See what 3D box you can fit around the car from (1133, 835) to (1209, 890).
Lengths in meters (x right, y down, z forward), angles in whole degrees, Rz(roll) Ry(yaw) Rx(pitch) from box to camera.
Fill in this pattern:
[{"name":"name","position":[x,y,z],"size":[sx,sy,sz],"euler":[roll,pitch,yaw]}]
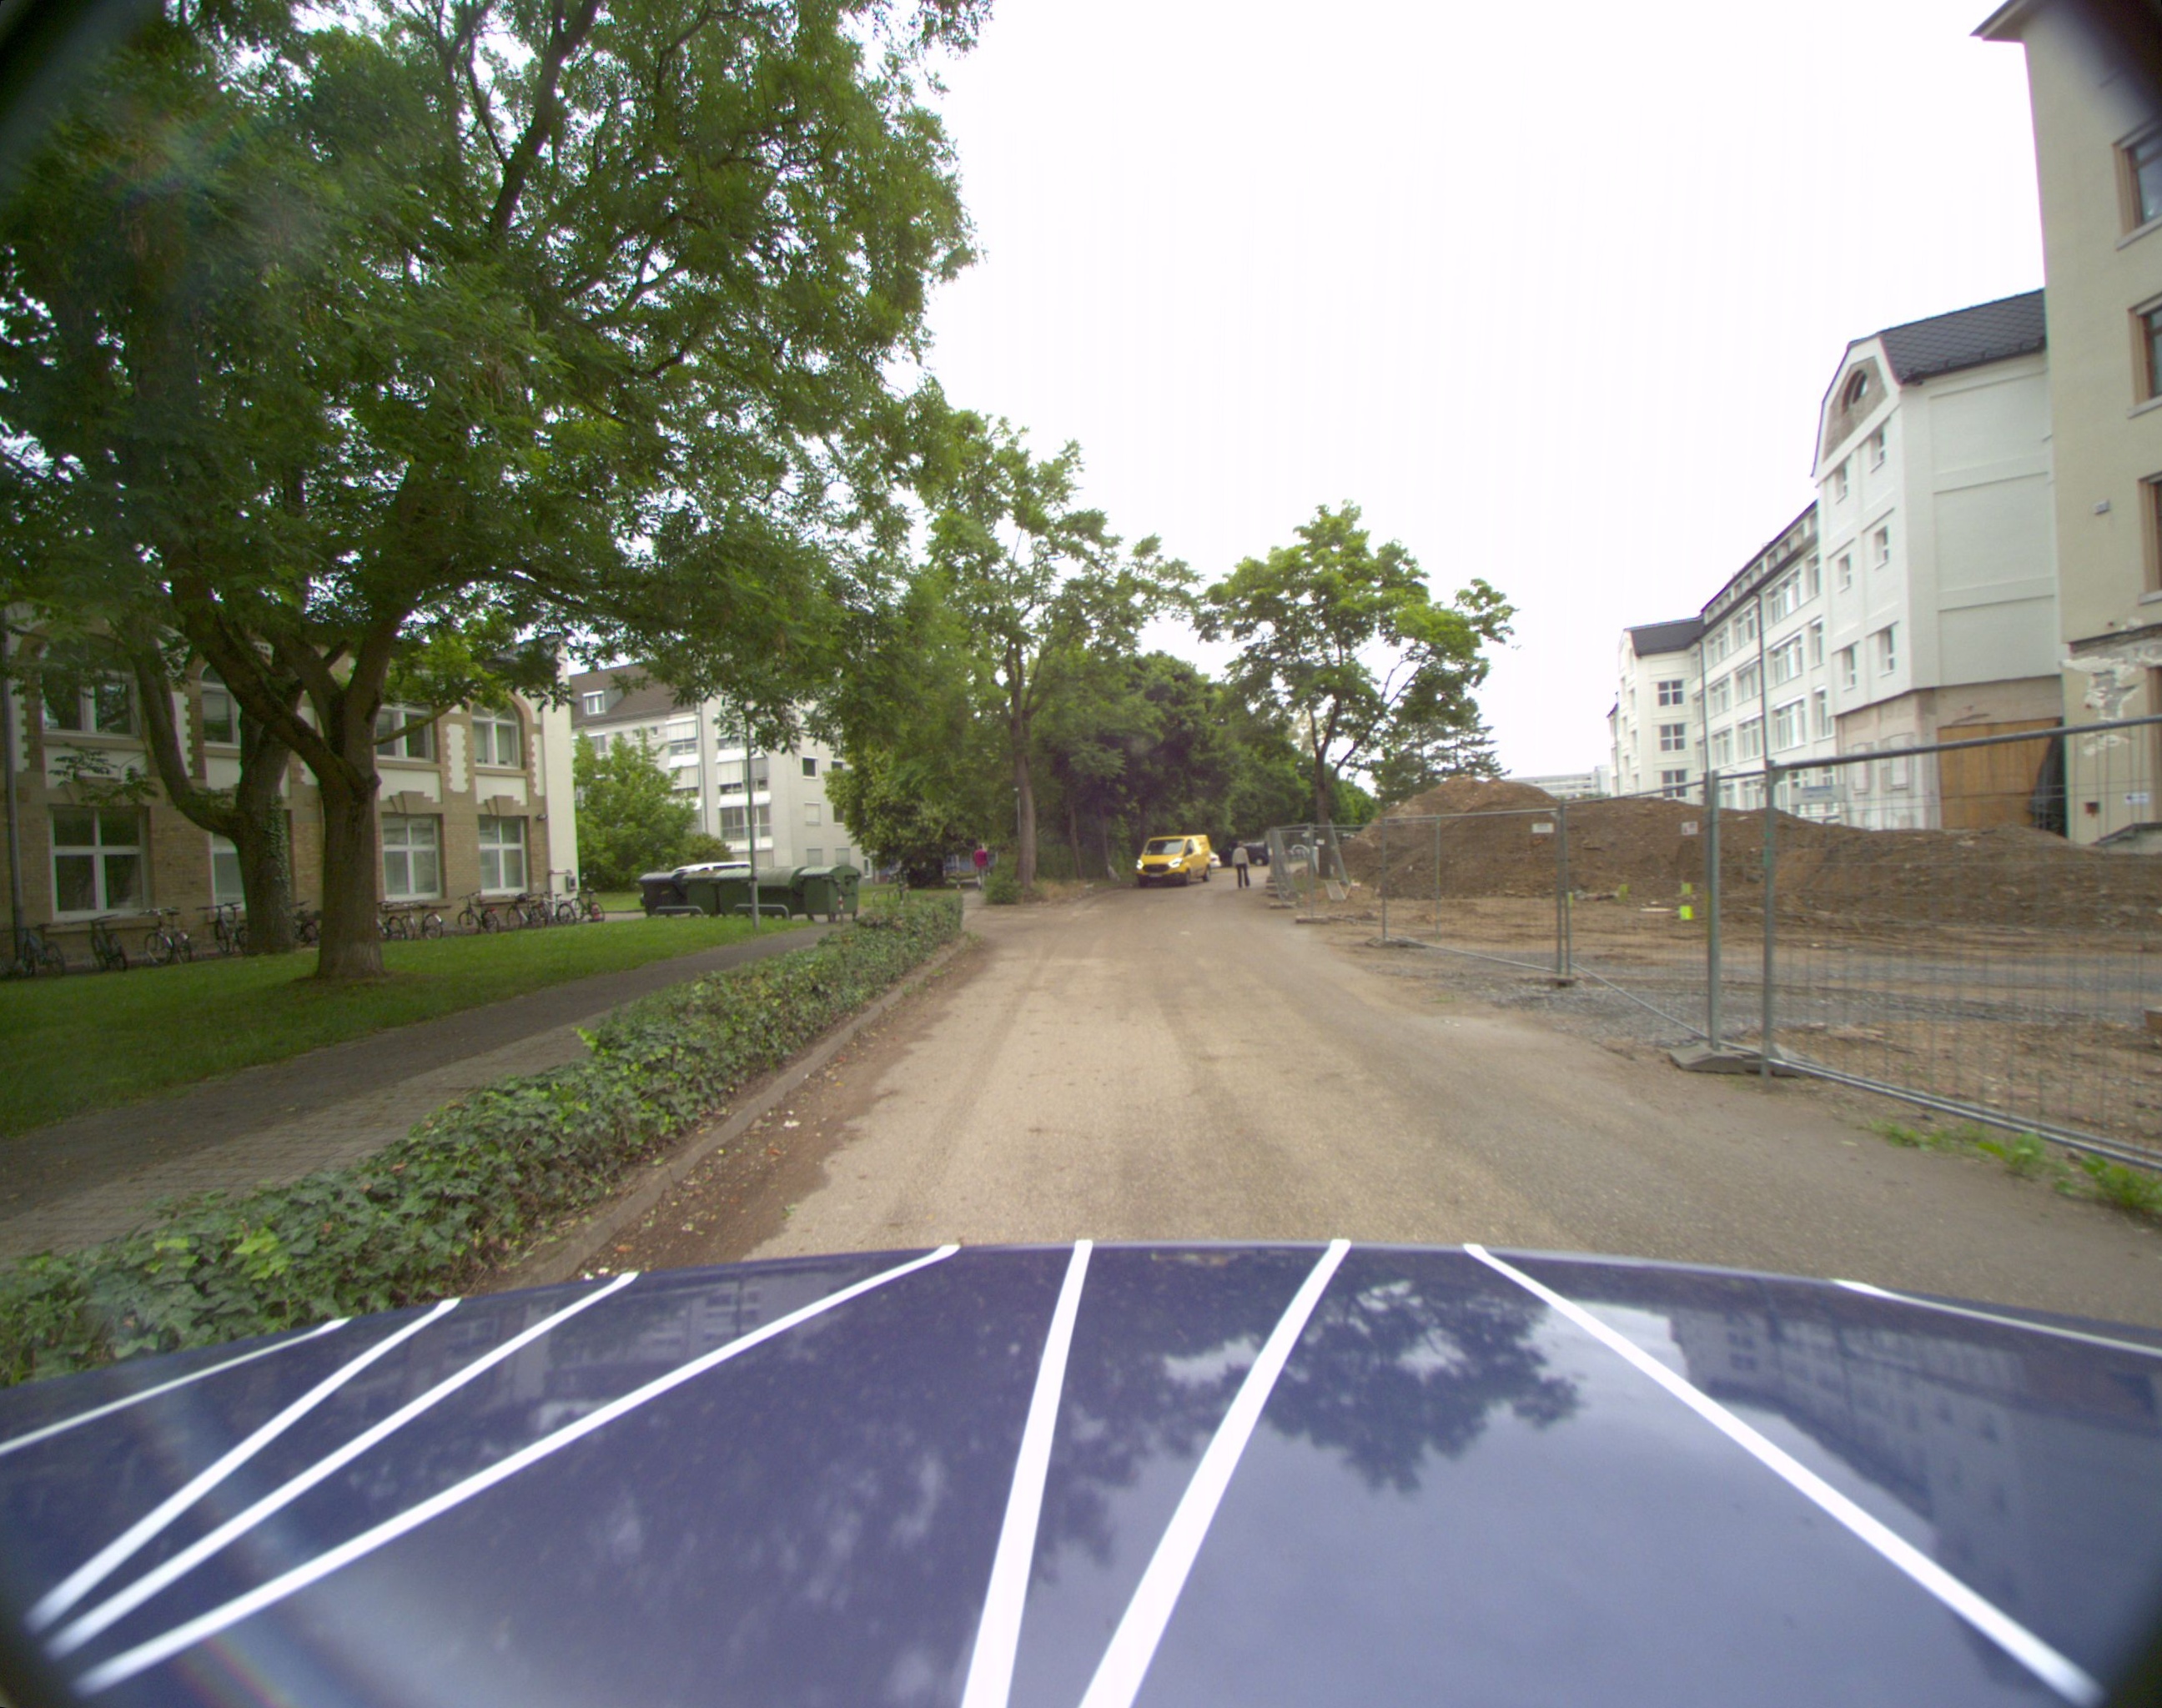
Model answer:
[{"name":"car","position":[3.716,0.297,30.735],"size":[2.121,2.002,4.005],"euler":[-2,0,20]}]

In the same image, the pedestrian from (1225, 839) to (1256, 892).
[{"name":"pedestrian","position":[5.524,0.393,26.314],"size":[0.752,1.771,0.662],"euler":[-3,1,-24]}]

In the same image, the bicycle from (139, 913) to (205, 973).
[{"name":"bicycle","position":[-18.089,1.740,15.112],"size":[1.740,1.108,0.461],"euler":[-2,1,28]}]

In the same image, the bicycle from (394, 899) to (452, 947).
[{"name":"bicycle","position":[-16.296,1.700,18.807],"size":[1.740,1.108,0.461],"euler":[-2,1,28]}]

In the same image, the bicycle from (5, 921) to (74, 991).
[{"name":"bicycle","position":[-18.697,1.806,13.633],"size":[1.740,1.108,0.461],"euler":[-1,1,28]}]

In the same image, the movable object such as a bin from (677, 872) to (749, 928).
[{"name":"movable object such as a bin","position":[-10.192,1.263,21.064],"size":[1.324,1.442,1.110],"euler":[-3,1,22]}]

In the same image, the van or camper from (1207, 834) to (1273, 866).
[{"name":"van or camper","position":[12.135,-0.291,58.075],"size":[4.490,2.245,2.003],"euler":[-2,1,27]}]

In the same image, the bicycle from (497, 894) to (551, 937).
[{"name":"bicycle","position":[-15.360,1.685,20.944],"size":[1.740,1.108,0.461],"euler":[-2,1,28]}]

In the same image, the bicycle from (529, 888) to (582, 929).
[{"name":"bicycle","position":[-15.014,1.556,21.686],"size":[1.740,1.108,0.461],"euler":[-2,1,28]}]

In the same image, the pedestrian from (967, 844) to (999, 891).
[{"name":"pedestrian","position":[-4.331,0.588,33.614],"size":[0.793,2.052,1.203],"euler":[-2,1,22]}]

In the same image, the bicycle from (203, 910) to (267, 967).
[{"name":"bicycle","position":[-17.710,1.752,15.896],"size":[1.740,1.108,0.461],"euler":[-2,1,28]}]

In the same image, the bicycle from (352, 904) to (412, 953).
[{"name":"bicycle","position":[-16.667,1.760,18.116],"size":[1.740,1.108,0.461],"euler":[-2,1,28]}]

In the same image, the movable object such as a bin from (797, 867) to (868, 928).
[{"name":"movable object such as a bin","position":[-6.251,1.081,19.114],"size":[1.272,1.426,1.074],"euler":[-2,1,36]}]

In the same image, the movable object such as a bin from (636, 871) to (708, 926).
[{"name":"movable object such as a bin","position":[-11.654,1.260,21.661],"size":[1.359,1.442,1.110],"euler":[-3,1,21]}]

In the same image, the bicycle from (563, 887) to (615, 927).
[{"name":"bicycle","position":[-14.607,1.573,22.538],"size":[1.740,1.108,0.461],"euler":[-2,1,28]}]

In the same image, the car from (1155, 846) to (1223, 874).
[{"name":"car","position":[6.634,0.366,46.604],"size":[3.879,1.565,1.754],"euler":[-2,1,15]}]

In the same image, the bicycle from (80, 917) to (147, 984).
[{"name":"bicycle","position":[-18.329,1.800,14.388],"size":[1.740,1.108,0.461],"euler":[0,2,28]}]

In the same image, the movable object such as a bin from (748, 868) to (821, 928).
[{"name":"movable object such as a bin","position":[-7.661,1.133,19.642],"size":[1.283,1.442,1.110],"euler":[-3,1,25]}]

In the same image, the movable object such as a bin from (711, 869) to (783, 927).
[{"name":"movable object such as a bin","position":[-8.967,1.174,20.441],"size":[1.291,1.442,1.110],"euler":[-3,1,22]}]

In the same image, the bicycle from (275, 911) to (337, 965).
[{"name":"bicycle","position":[-17.212,1.834,16.874],"size":[1.740,1.108,0.461],"euler":[-2,1,28]}]

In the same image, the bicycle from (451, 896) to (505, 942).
[{"name":"bicycle","position":[-15.726,1.685,19.807],"size":[1.740,1.108,0.461],"euler":[-2,1,30]}]

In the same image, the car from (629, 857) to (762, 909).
[{"name":"car","position":[-16.515,1.204,32.852],"size":[1.897,1.862,4.781],"euler":[-5,-1,28]}]
